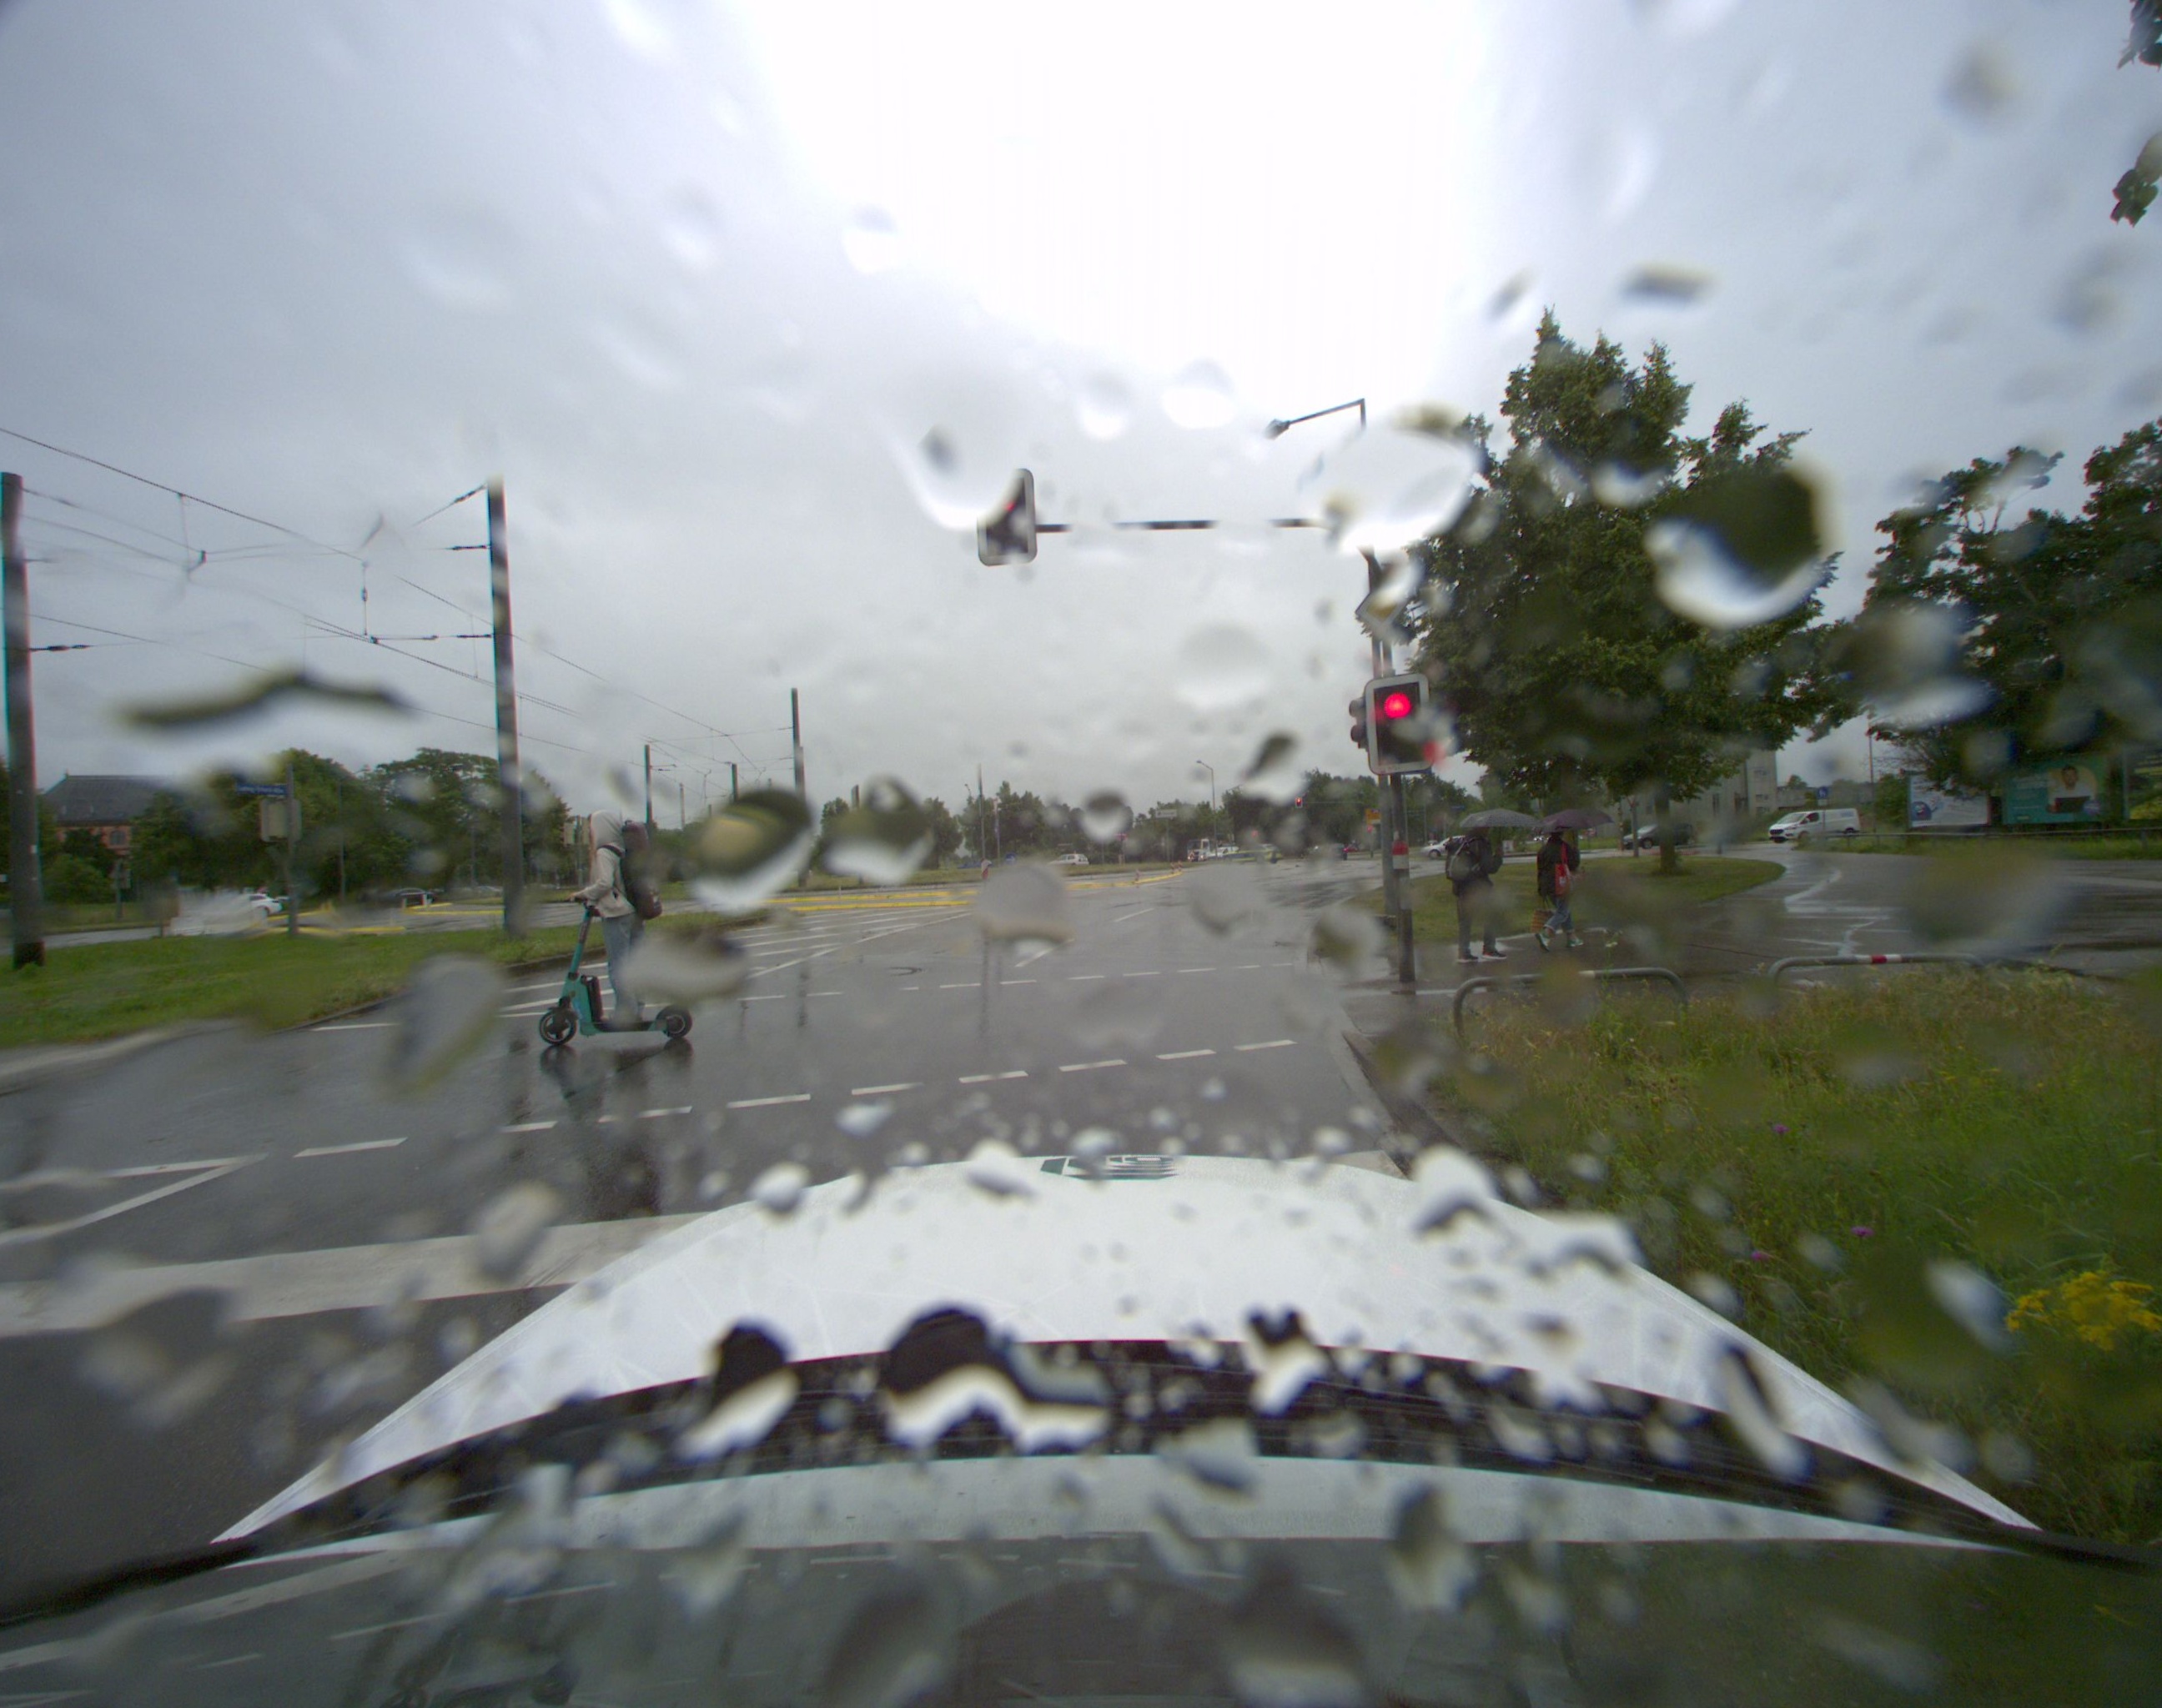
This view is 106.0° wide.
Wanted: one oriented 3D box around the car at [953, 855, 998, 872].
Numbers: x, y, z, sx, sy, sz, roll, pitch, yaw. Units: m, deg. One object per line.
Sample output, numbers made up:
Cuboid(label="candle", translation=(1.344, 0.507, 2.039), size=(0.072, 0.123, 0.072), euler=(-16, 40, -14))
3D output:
Cuboid(label="car", translation=(-10.180, 0.937, 78.694), size=(3.945, 1.454, 1.630), euler=(-2, 0, 15))

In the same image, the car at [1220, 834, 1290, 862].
Cuboid(label="car", translation=(12.765, -0.397, 60.055), size=(2.011, 1.851, 4.718), euler=(-2, 0, -41))

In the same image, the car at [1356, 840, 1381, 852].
Cuboid(label="car", translation=(42.736, -1.170, 120.904), size=(1.779, 1.662, 4.437), euler=(-2, 0, 43))

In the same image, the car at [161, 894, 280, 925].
Cuboid(label="car", translation=(-51.189, 3.250, 48.537), size=(1.602, 1.454, 4.653), euler=(-2, 0, 35))

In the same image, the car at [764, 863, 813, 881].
Cuboid(label="car", translation=(-27.483, 1.675, 76.472), size=(4.121, 1.454, 1.609), euler=(-2, 0, -26))

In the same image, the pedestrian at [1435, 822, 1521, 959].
Cuboid(label="pedestrian", translation=(4.590, 0.405, 9.458), size=(0.619, 1.522, 0.741), euler=(-1, 0, 0))

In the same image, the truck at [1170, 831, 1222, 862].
Cuboid(label="truck", translation=(10.599, -0.613, 74.141), size=(2.439, 2.686, 8.105), euler=(-1, -1, 25))

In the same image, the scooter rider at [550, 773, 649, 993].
Cuboid(label="scooter rider", translation=(-3.915, 0.220, 6.648), size=(0.532, 1.709, 0.432), euler=(-3, -1, -17))

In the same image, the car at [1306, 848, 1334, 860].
Cuboid(label="car", translation=(31.981, 0.019, 109.095), size=(1.779, 1.662, 4.436), euler=(-1, -1, 43))

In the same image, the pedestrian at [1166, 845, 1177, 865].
Cuboid(label="pedestrian", translation=(6.042, 0.077, 54.454), size=(0.448, 1.304, 0.489), euler=(-3, 0, 40))

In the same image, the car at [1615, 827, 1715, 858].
Cuboid(label="car", translation=(36.824, -0.706, 51.494), size=(4.732, 1.851, 2.005), euler=(0, -1, 9))

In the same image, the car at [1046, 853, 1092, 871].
Cuboid(label="car", translation=(-1.122, 0.746, 74.861), size=(3.936, 1.454, 1.634), euler=(-2, 0, 32))

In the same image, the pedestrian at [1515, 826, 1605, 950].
Cuboid(label="pedestrian", translation=(5.944, 0.409, 10.136), size=(0.678, 1.461, 0.573), euler=(-3, -1, -3))

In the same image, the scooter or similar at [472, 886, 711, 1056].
Cuboid(label="scooter or similar", translation=(-3.918, 0.902, 6.626), size=(1.589, 1.259, 0.445), euler=(0, -1, -17))

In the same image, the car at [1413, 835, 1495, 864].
Cuboid(label="car", translation=(24.287, -0.272, 53.219), size=(4.721, 1.851, 2.010), euler=(-1, -1, 19))

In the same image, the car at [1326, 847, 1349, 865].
Cuboid(label="car", translation=(22.285, 0.131, 70.839), size=(1.606, 1.454, 4.003), euler=(-2, 0, 14))

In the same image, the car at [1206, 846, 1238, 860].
Cuboid(label="car", translation=(16.682, -0.096, 96.306), size=(1.779, 1.662, 4.159), euler=(-1, -1, 43))

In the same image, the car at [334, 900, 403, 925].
Cuboid(label="car", translation=(-50.316, 4.106, 57.585), size=(1.609, 1.543, 3.489), euler=(0, -1, 6))

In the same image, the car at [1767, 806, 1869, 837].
Cuboid(label="car", translation=(46.917, -2.082, 51.894), size=(4.746, 1.851, 1.999), euler=(0, -1, -1))
